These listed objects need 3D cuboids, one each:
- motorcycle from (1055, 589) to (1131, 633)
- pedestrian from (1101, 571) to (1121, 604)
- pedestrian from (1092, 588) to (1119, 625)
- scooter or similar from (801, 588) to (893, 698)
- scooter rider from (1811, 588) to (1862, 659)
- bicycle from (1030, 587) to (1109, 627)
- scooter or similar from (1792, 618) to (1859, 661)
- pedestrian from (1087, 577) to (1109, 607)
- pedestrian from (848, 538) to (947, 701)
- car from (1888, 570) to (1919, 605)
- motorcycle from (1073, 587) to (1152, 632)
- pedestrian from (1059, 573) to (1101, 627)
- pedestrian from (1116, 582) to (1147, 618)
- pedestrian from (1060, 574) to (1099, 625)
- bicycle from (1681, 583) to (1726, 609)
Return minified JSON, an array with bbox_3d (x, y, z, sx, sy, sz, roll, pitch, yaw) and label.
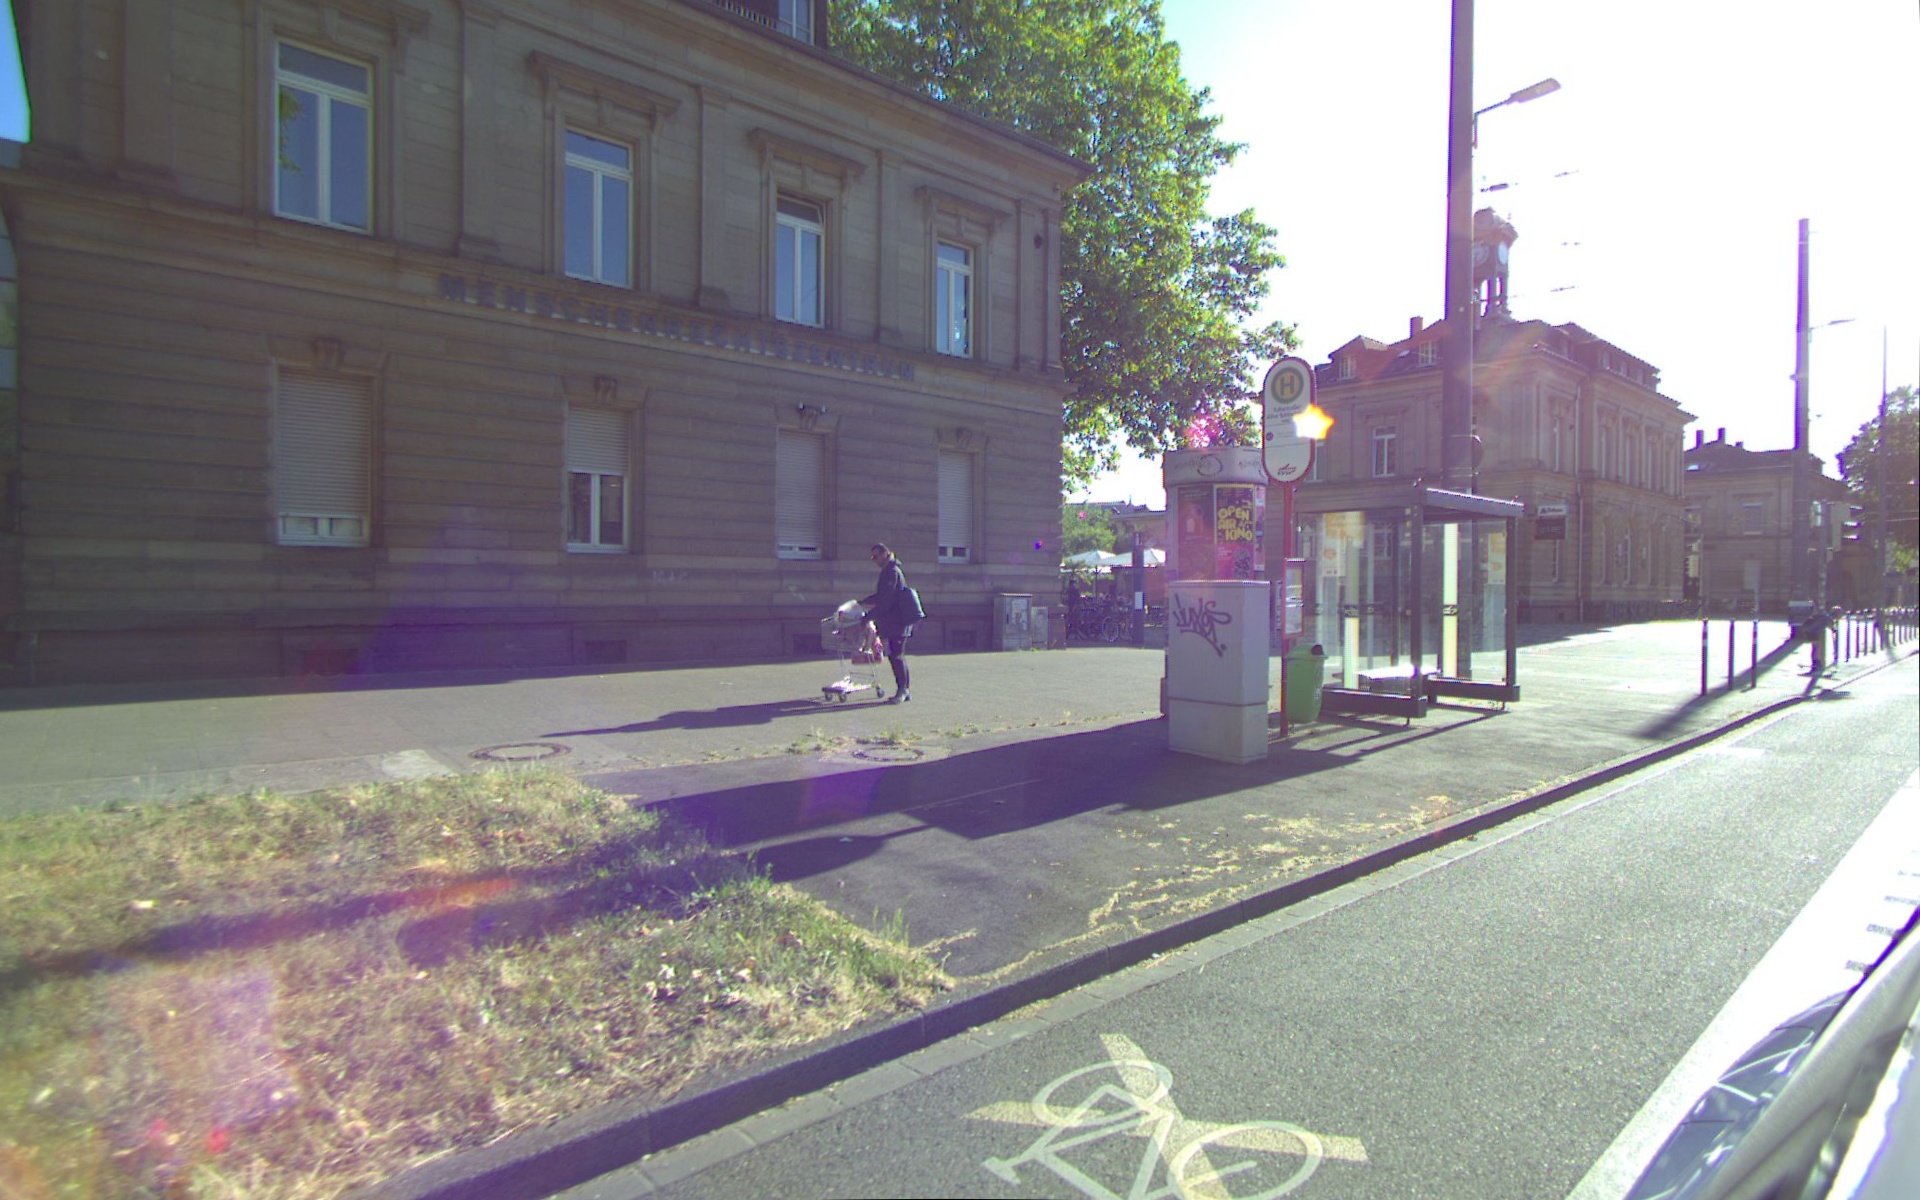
[{"bbox_3d":[3.536,0.274,27.140,0.869,1.116,2.084,-1,1,-33],"label":"motorcycle"},{"bbox_3d":[8.277,-0.675,55.430,0.653,1.766,0.838,0,3,-44],"label":"pedestrian"},{"bbox_3d":[5.862,0.267,40.771,0.641,1.395,0.674,0,-11,-31],"label":"pedestrian"},{"bbox_3d":[-1.301,0.467,11.633,0.718,1.170,0.748,3,3,43],"label":"scooter or similar"},{"bbox_3d":[17.988,0.463,20.772,0.589,1.414,0.702,0,1,-40],"label":"scooter rider"},{"bbox_3d":[3.699,0.223,34.345,2.654,1.294,0.772,0,1,38],"label":"bicycle"},{"bbox_3d":[17.815,0.811,20.847,0.260,0.821,1.023,0,1,-40],"label":"scooter or similar"},{"bbox_3d":[6.954,-0.417,50.836,0.653,1.484,0.838,0,3,-43],"label":"pedestrian"},{"bbox_3d":[-0.711,0.189,11.510,0.769,1.766,0.784,3,3,43],"label":"pedestrian"},{"bbox_3d":[59.169,-0.793,62.693,3.927,2.072,1.834,-1,1,-37],"label":"car"},{"bbox_3d":[4.157,0.249,27.785,0.869,1.174,2.228,-1,1,-33],"label":"motorcycle"},{"bbox_3d":[4.072,-0.013,34.296,0.994,1.766,1.023,3,2,38],"label":"pedestrian"},{"bbox_3d":[6.993,-0.007,41.261,0.979,1.396,0.775,0,2,-28],"label":"pedestrian"},{"bbox_3d":[4.377,-0.048,37.126,0.994,1.810,1.023,3,2,38],"label":"pedestrian"},{"bbox_3d":[35.820,-0.224,48.758,0.679,1.195,1.648,0,2,-42],"label":"bicycle"}]
